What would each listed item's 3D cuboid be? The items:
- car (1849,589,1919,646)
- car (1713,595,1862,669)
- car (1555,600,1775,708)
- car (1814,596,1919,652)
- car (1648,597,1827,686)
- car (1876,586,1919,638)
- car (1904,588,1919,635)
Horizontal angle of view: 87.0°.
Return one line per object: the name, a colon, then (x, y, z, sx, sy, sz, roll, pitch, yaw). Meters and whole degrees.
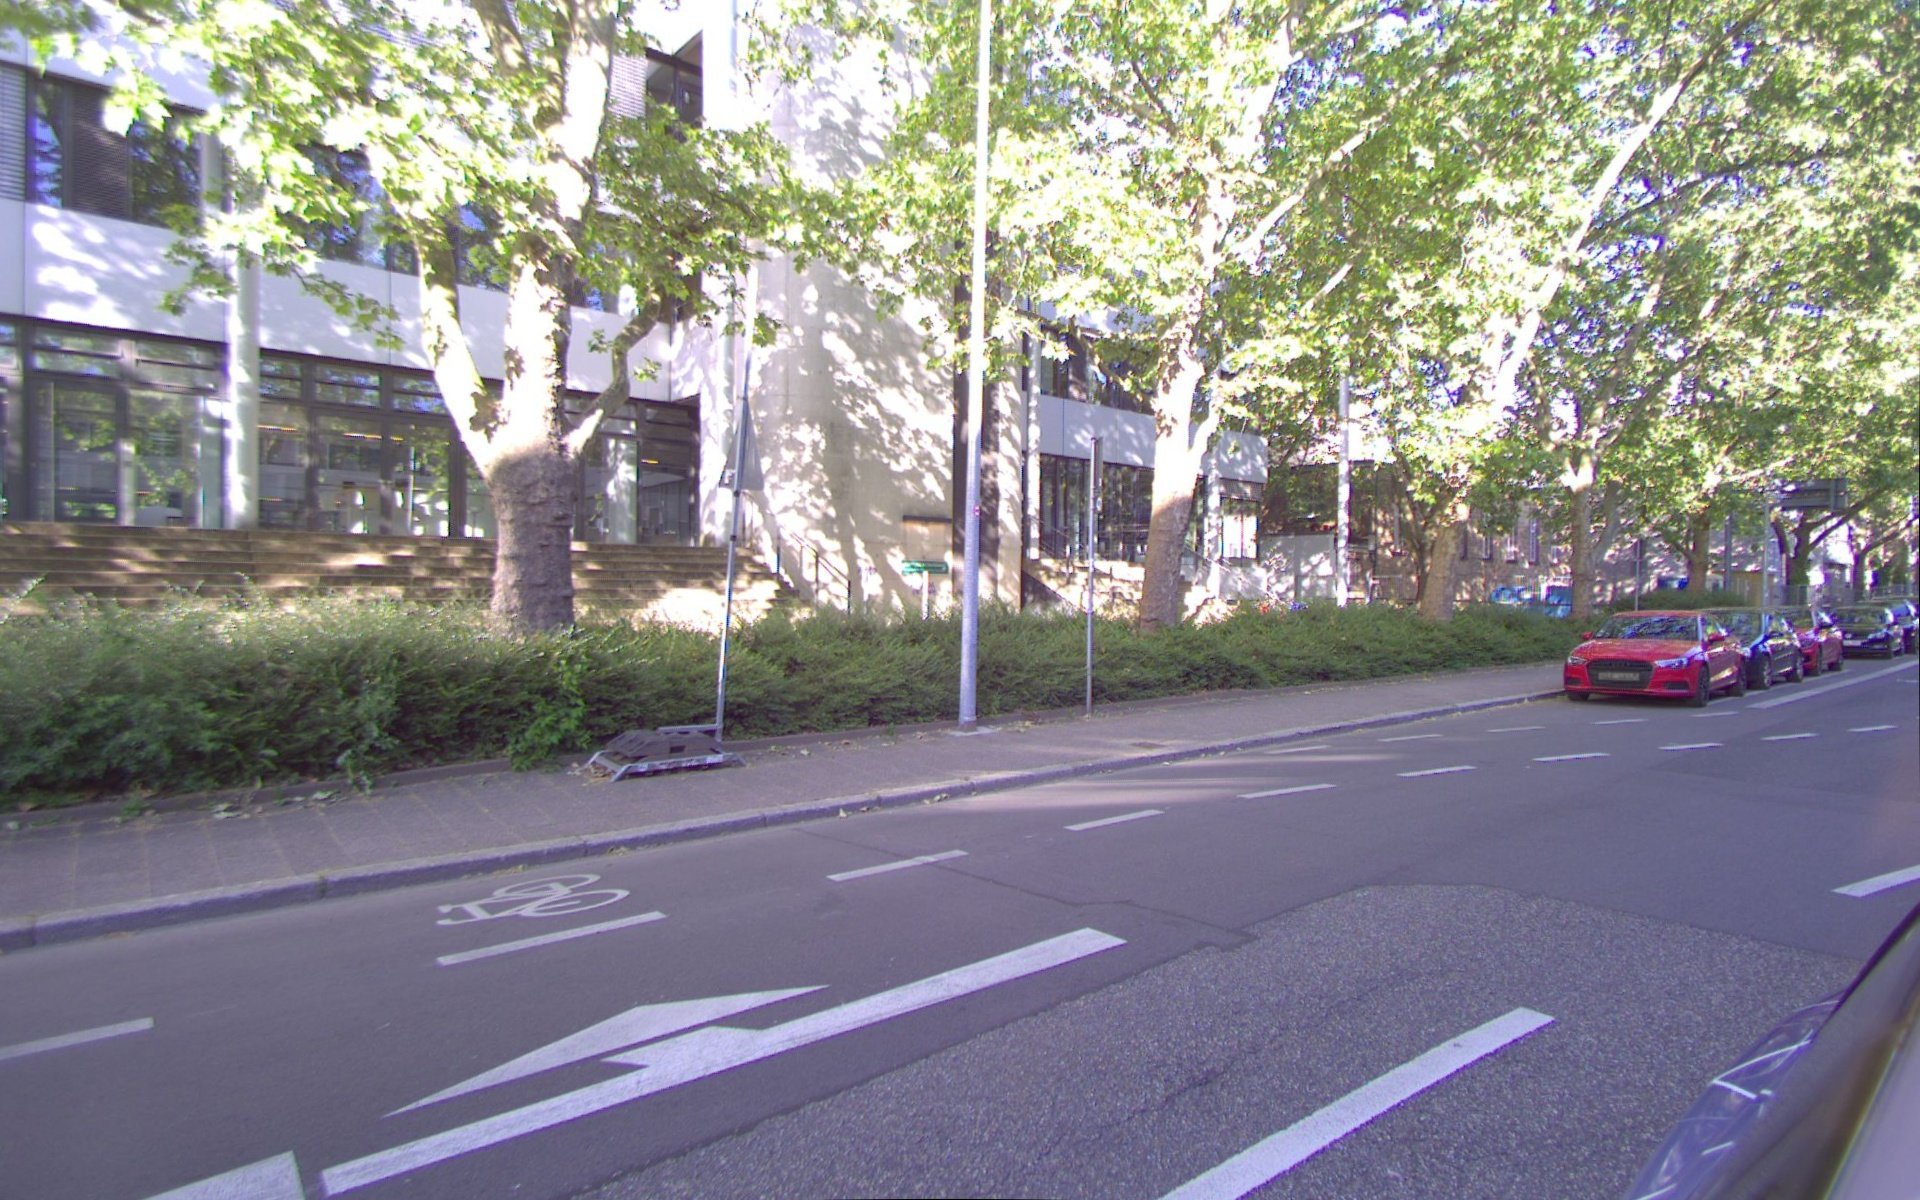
car: (29.576, 0.513, 31.810, 4.403, 1.689, 1.865, 0, 0, -41)
car: (18.440, 0.638, 22.482, 4.403, 1.469, 1.865, 0, 0, -41)
car: (11.325, 0.741, 16.144, 4.403, 1.469, 1.865, 0, 0, -41)
car: (25.796, 0.621, 28.616, 4.403, 1.469, 1.865, 0, 0, -41)
car: (14.772, 0.694, 19.144, 4.403, 1.469, 1.865, 0, 0, -41)
car: (33.914, 0.394, 35.701, 4.403, 1.781, 1.865, 0, 0, -41)
car: (38.880, 0.442, 39.971, 4.403, 1.781, 1.865, 0, 0, -41)
